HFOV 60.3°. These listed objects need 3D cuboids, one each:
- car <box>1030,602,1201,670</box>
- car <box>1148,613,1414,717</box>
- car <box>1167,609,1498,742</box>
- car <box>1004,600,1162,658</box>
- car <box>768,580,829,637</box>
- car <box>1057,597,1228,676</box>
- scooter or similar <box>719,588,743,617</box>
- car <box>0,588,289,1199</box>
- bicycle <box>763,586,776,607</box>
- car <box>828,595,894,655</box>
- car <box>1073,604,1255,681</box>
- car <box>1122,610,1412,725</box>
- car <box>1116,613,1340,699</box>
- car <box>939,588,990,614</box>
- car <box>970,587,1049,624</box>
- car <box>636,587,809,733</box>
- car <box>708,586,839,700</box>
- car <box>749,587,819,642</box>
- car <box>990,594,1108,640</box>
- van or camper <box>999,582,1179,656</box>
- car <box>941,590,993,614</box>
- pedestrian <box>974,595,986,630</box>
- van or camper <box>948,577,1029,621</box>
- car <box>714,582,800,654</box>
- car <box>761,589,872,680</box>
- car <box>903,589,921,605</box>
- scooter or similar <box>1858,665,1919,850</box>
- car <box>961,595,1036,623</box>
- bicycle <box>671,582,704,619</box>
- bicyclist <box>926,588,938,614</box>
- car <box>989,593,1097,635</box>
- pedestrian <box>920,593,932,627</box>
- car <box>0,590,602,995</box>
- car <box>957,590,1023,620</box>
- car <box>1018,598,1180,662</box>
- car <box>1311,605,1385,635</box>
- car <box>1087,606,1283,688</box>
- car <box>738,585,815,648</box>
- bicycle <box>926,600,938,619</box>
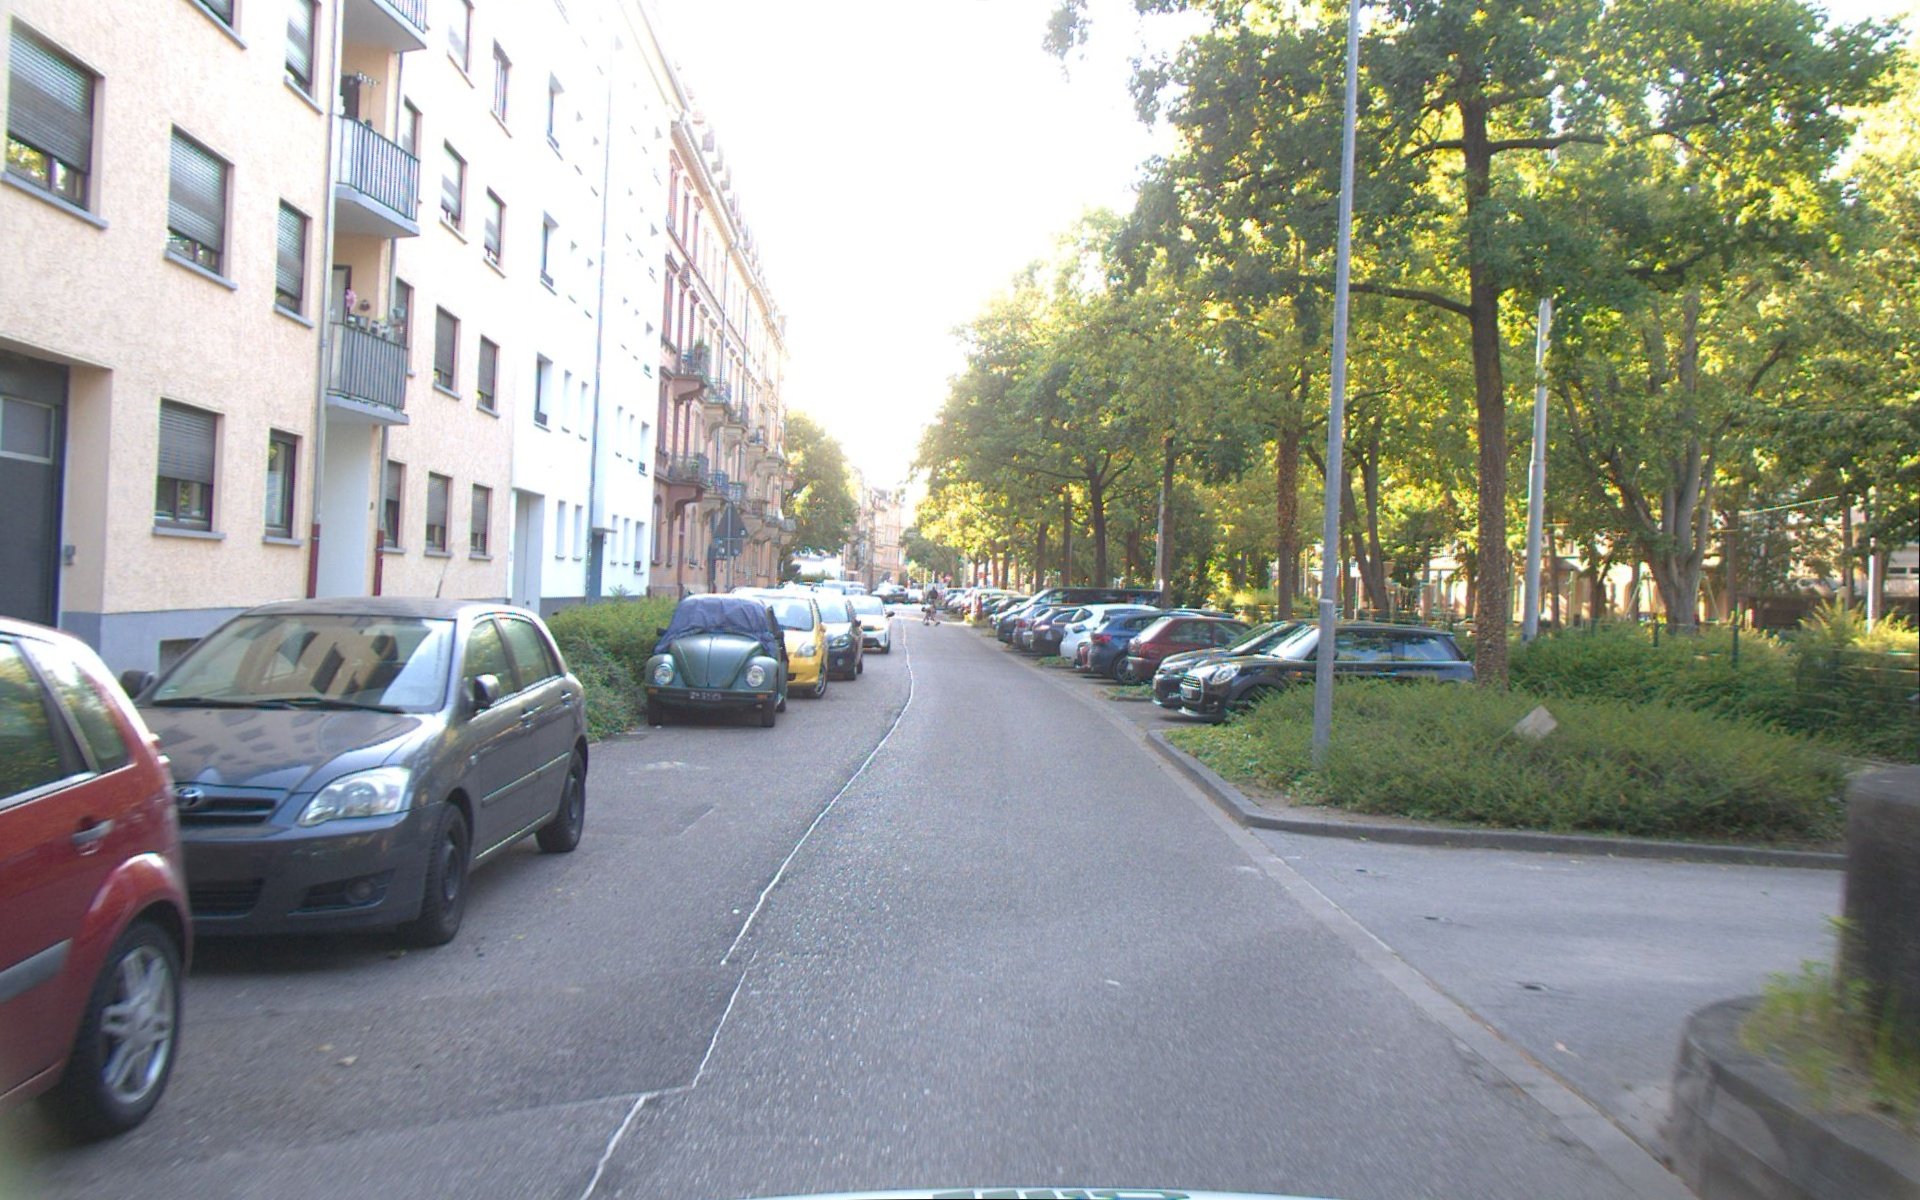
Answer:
[{"bbox_3d":[3.992,0.932,42.964,4.307,1.605,1.665,2,-1,3],"label":"car"},{"bbox_3d":[4.873,0.981,25.419,3.706,1.426,1.663,2,-1,-3],"label":"car"},{"bbox_3d":[4.616,0.930,20.740,3.709,1.498,1.633,2,-1,-6],"label":"car"},{"bbox_3d":[3.554,0.853,48.146,4.314,1.527,1.835,2,-1,-5],"label":"car"},{"bbox_3d":[-5.430,0.254,55.865,1.717,1.735,4.198,4,0,-3],"label":"car"},{"bbox_3d":[4.174,0.846,38.245,3.706,1.675,1.663,2,-1,-2],"label":"car"},{"bbox_3d":[-10.626,0.119,76.712,0.768,1.243,2.702,4,-2,-2],"label":"scooter or similar"},{"bbox_3d":[-2.938,0.693,3.242,1.655,1.466,3.998,2,0,-2],"label":"car"},{"bbox_3d":[-11.498,-0.201,99.773,0.691,1.167,1.887,4,-2,-5],"label":"bicycle"},{"bbox_3d":[-2.646,0.652,44.751,1.634,1.455,3.999,0,1,-2],"label":"car"},{"bbox_3d":[4.350,0.913,35.616,3.704,1.499,1.664,2,-1,0],"label":"car"},{"bbox_3d":[4.243,0.933,23.277,3.705,1.426,1.827,2,-1,-1],"label":"car"},{"bbox_3d":[4.887,1.016,30.423,3.709,1.426,1.764,2,-1,-6],"label":"car"},{"bbox_3d":[0.376,0.071,135.605,3.910,1.825,1.857,4,-2,-5],"label":"car"},{"bbox_3d":[2.644,0.308,88.413,4.134,1.896,1.761,1,0,-1],"label":"car"},{"bbox_3d":[-2.787,0.662,20.127,1.535,1.544,3.782,2,0,0],"label":"car"},{"bbox_3d":[-2.774,0.605,25.246,1.668,1.552,3.772,2,0,-3],"label":"car"},{"bbox_3d":[-5.344,0.406,50.580,1.583,1.476,4.000,5,0,0],"label":"car"},{"bbox_3d":[3.374,0.645,63.266,4.311,1.619,1.836,2,-1,-3],"label":"car"},{"bbox_3d":[3.909,0.552,50.822,5.303,2.062,2.029,2,1,0],"label":"van or camper"},{"bbox_3d":[0.560,0.159,132.941,3.910,1.590,1.857,4,-2,-5],"label":"car"},{"bbox_3d":[0.912,0.570,74.990,0.372,1.543,0.519,3,2,17],"label":"pedestrian"},{"bbox_3d":[1.796,-0.023,105.369,4.884,2.418,2.183,4,-2,-4],"label":"van or camper"},{"bbox_3d":[-4.969,0.417,40.926,1.635,1.534,3.998,6,0,-2],"label":"car"},{"bbox_3d":[-2.555,0.589,30.229,1.704,1.505,3.999,2,0,-1],"label":"car"},{"bbox_3d":[-4.620,-0.260,160.075,1.635,1.489,3.998,1,0,-3],"label":"car"},{"bbox_3d":[7.177,1.159,12.087,0.467,1.321,1.325,4,-2,1],"label":"scooter or similar"},{"bbox_3d":[2.170,0.473,92.846,4.132,1.478,1.649,1,0,2],"label":"car"},{"bbox_3d":[-9.666,0.017,58.727,0.722,1.227,2.513,4,1,-1],"label":"bicycle"},{"bbox_3d":[-1.806,0.062,106.626,0.615,1.600,0.801,4,-2,-3],"label":"bicyclist"},{"bbox_3d":[3.534,0.584,70.653,4.316,1.619,1.835,2,-1,-7],"label":"car"},{"bbox_3d":[-1.614,0.478,79.178,0.372,1.612,0.519,3,2,17],"label":"pedestrian"},{"bbox_3d":[-2.958,0.712,8.154,1.603,1.492,3.999,0,0,-2],"label":"car"},{"bbox_3d":[1.806,0.299,100.806,3.906,1.721,1.859,1,0,-1],"label":"car"},{"bbox_3d":[3.818,0.847,45.876,4.309,1.605,1.664,2,-1,0],"label":"car"},{"bbox_3d":[26.255,1.359,111.971,4.604,1.713,2.000,3,-2,21],"label":"car"},{"bbox_3d":[4.416,0.932,32.844,3.703,1.472,1.665,2,-1,3],"label":"car"},{"bbox_3d":[-5.051,0.432,46.029,1.635,1.496,4.283,6,0,-1],"label":"car"},{"bbox_3d":[-1.828,0.608,106.571,0.628,1.119,1.942,4,-2,-3],"label":"bicycle"}]
